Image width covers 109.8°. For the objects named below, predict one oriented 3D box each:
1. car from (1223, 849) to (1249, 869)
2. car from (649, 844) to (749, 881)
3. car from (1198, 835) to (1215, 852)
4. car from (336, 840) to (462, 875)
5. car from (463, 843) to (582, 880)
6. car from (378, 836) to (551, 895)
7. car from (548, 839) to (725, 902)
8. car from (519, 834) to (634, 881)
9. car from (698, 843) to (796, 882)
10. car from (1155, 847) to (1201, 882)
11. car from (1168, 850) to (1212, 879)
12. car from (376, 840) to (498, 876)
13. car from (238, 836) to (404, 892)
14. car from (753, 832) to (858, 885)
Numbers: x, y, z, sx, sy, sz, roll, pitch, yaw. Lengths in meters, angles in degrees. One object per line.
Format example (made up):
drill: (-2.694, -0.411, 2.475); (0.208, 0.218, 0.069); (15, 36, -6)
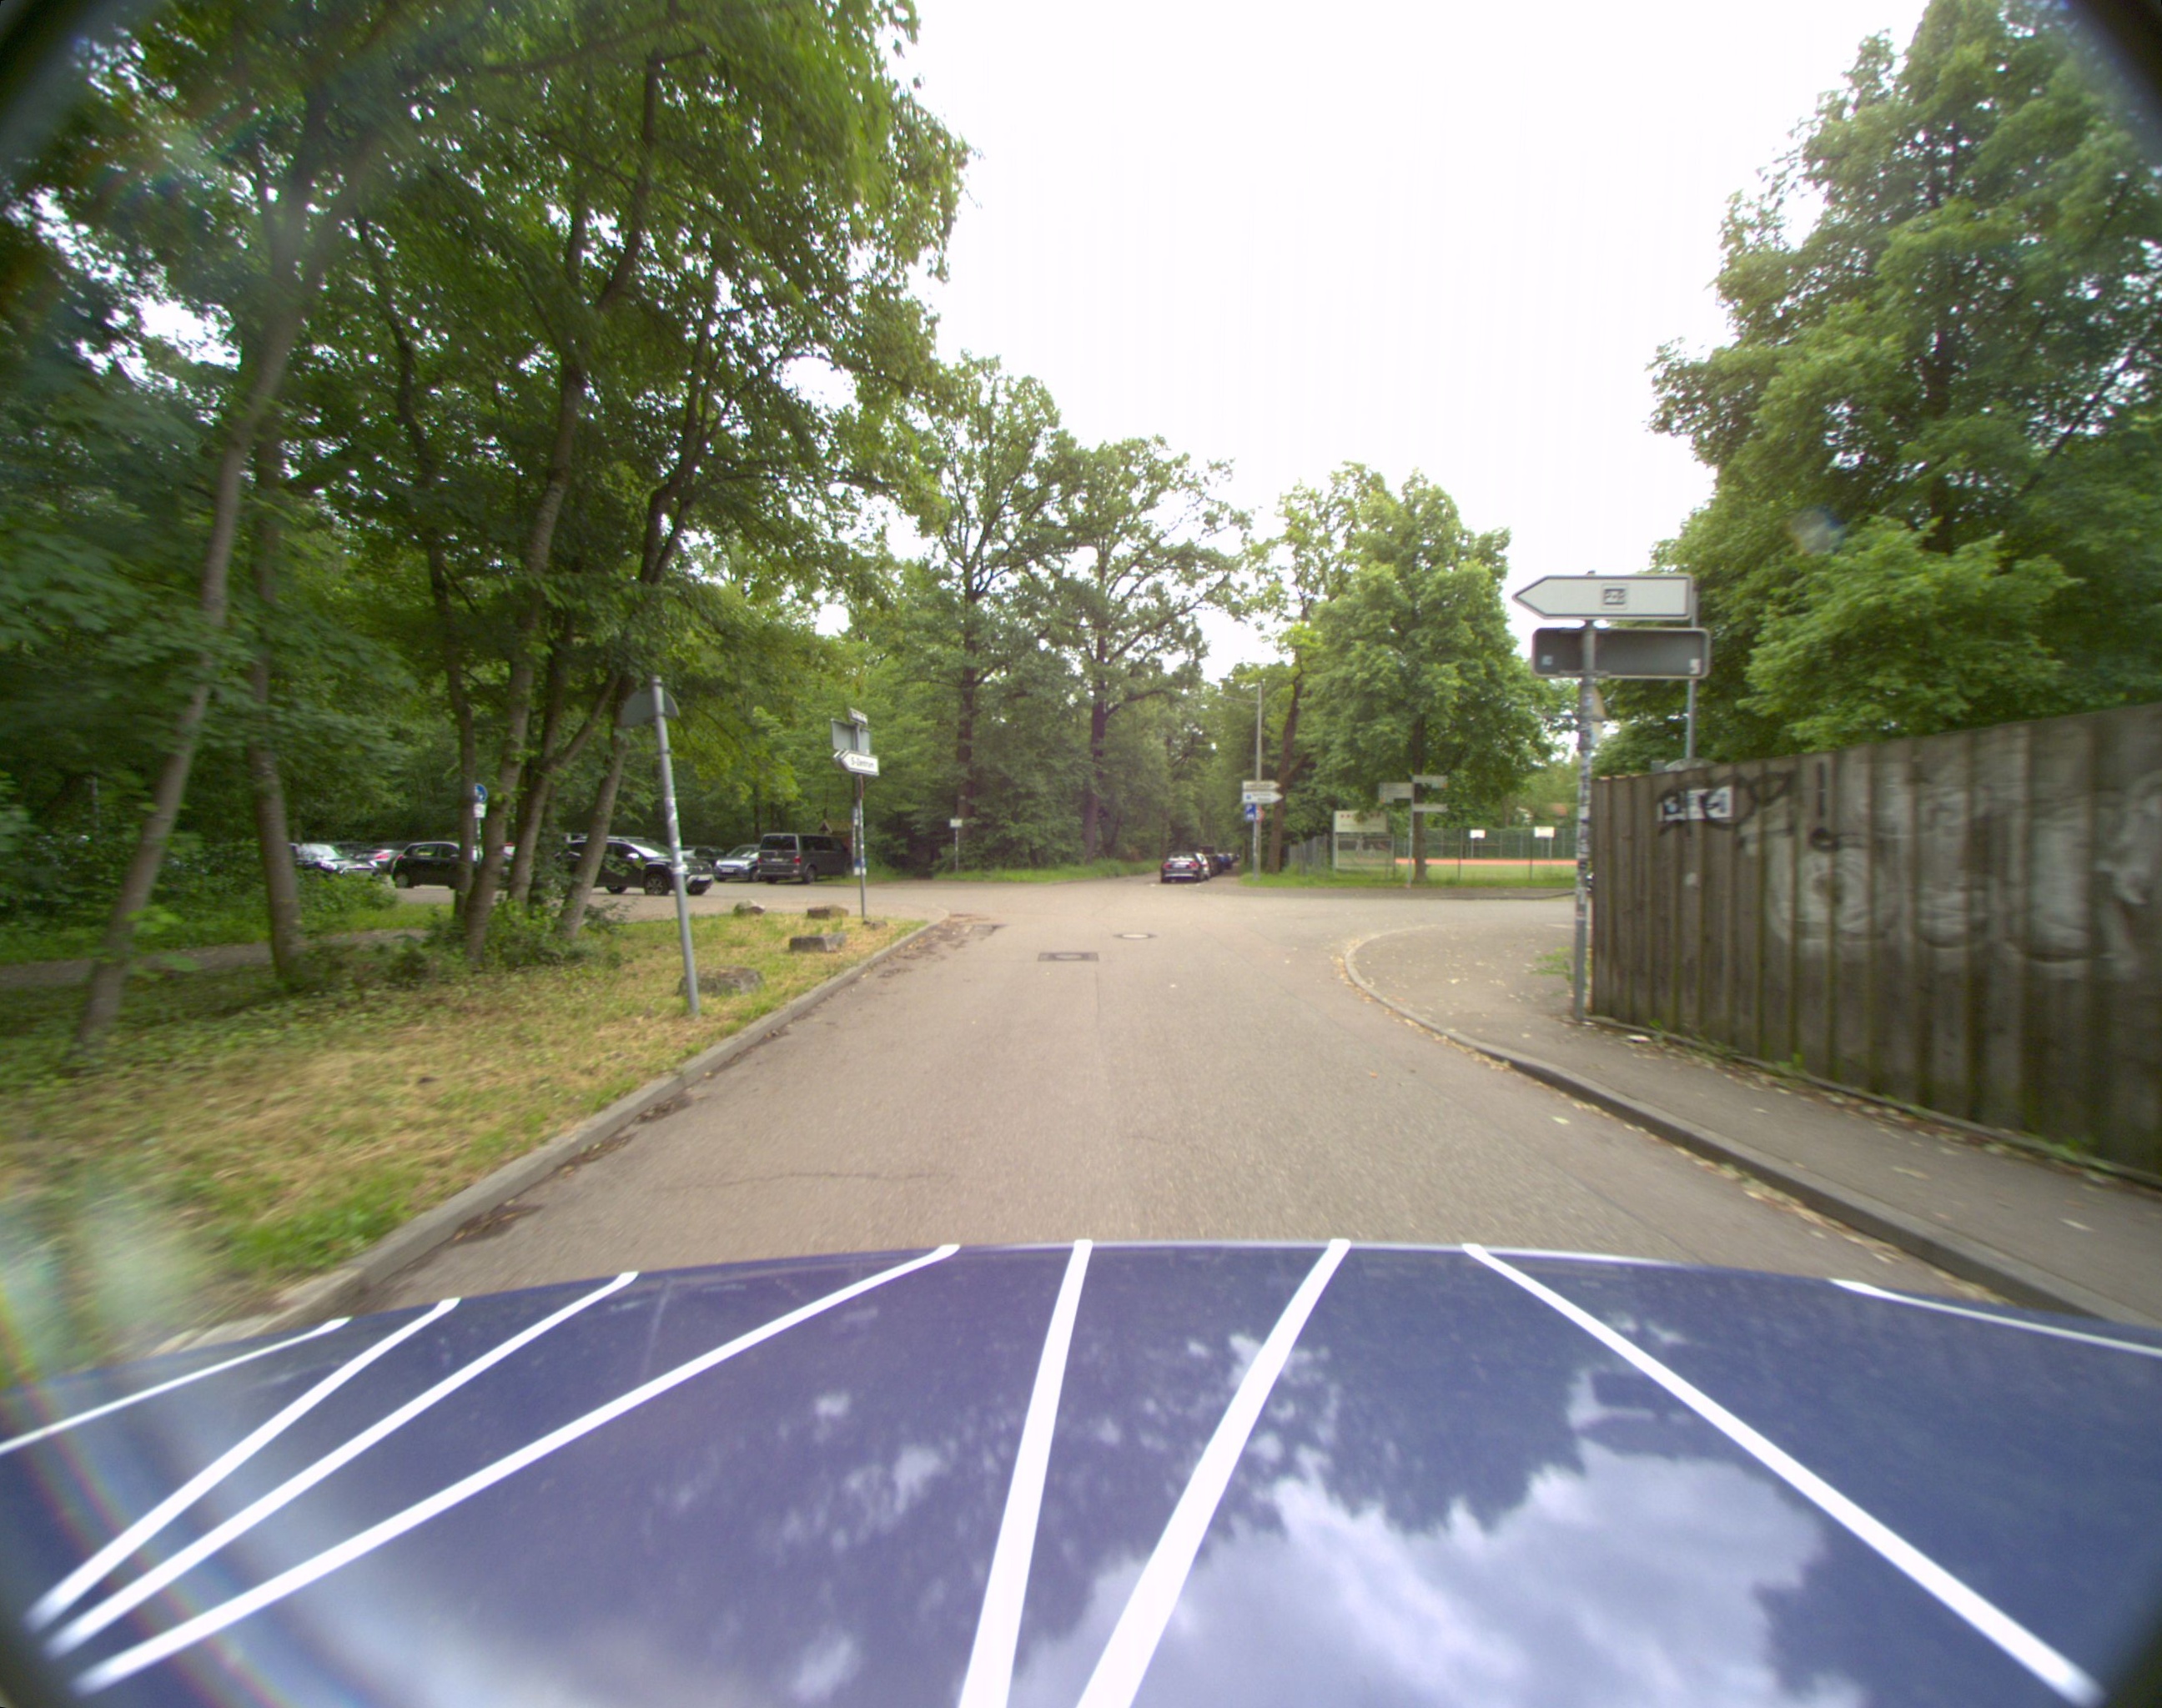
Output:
car: (13.266, 0.401, 65.320); (1.956, 1.610, 3.641); (2, 1, 8)
car: (-15.979, 0.313, 32.006); (1.718, 1.422, 4.003); (0, 1, 10)
car: (20.072, -1.689, 121.156); (2.577, 2.520, 4.938); (0, 1, 9)
car: (-30.539, 0.115, 34.198); (1.731, 1.430, 4.002); (1, 2, 9)
car: (-23.613, 0.289, 32.334); (1.777, 1.467, 4.002); (0, 1, 7)
car: (-18.346, 0.312, 22.694); (3.992, 1.624, 1.816); (1, 1, 10)
car: (-12.473, 0.417, 21.455); (4.093, 1.624, 1.816); (1, 1, 10)
car: (-21.211, 0.127, 32.173); (1.811, 1.851, 4.002); (0, 1, 9)
car: (-13.599, 0.322, 31.201); (1.806, 1.504, 3.830); (0, 0, 12)
car: (4.446, 0.472, 34.379); (1.769, 1.485, 4.331); (-1, -1, 11)
car: (5.683, 0.533, 39.178); (1.997, 1.411, 4.004); (-1, -1, 11)
car: (-28.465, 0.118, 33.748); (1.615, 1.430, 4.002); (1, 2, 9)
car: (-23.824, 0.268, 23.861); (3.991, 1.624, 1.817); (1, 1, 13)
car: (-10.931, 0.139, 30.564); (1.888, 1.966, 4.521); (0, 0, 12)
